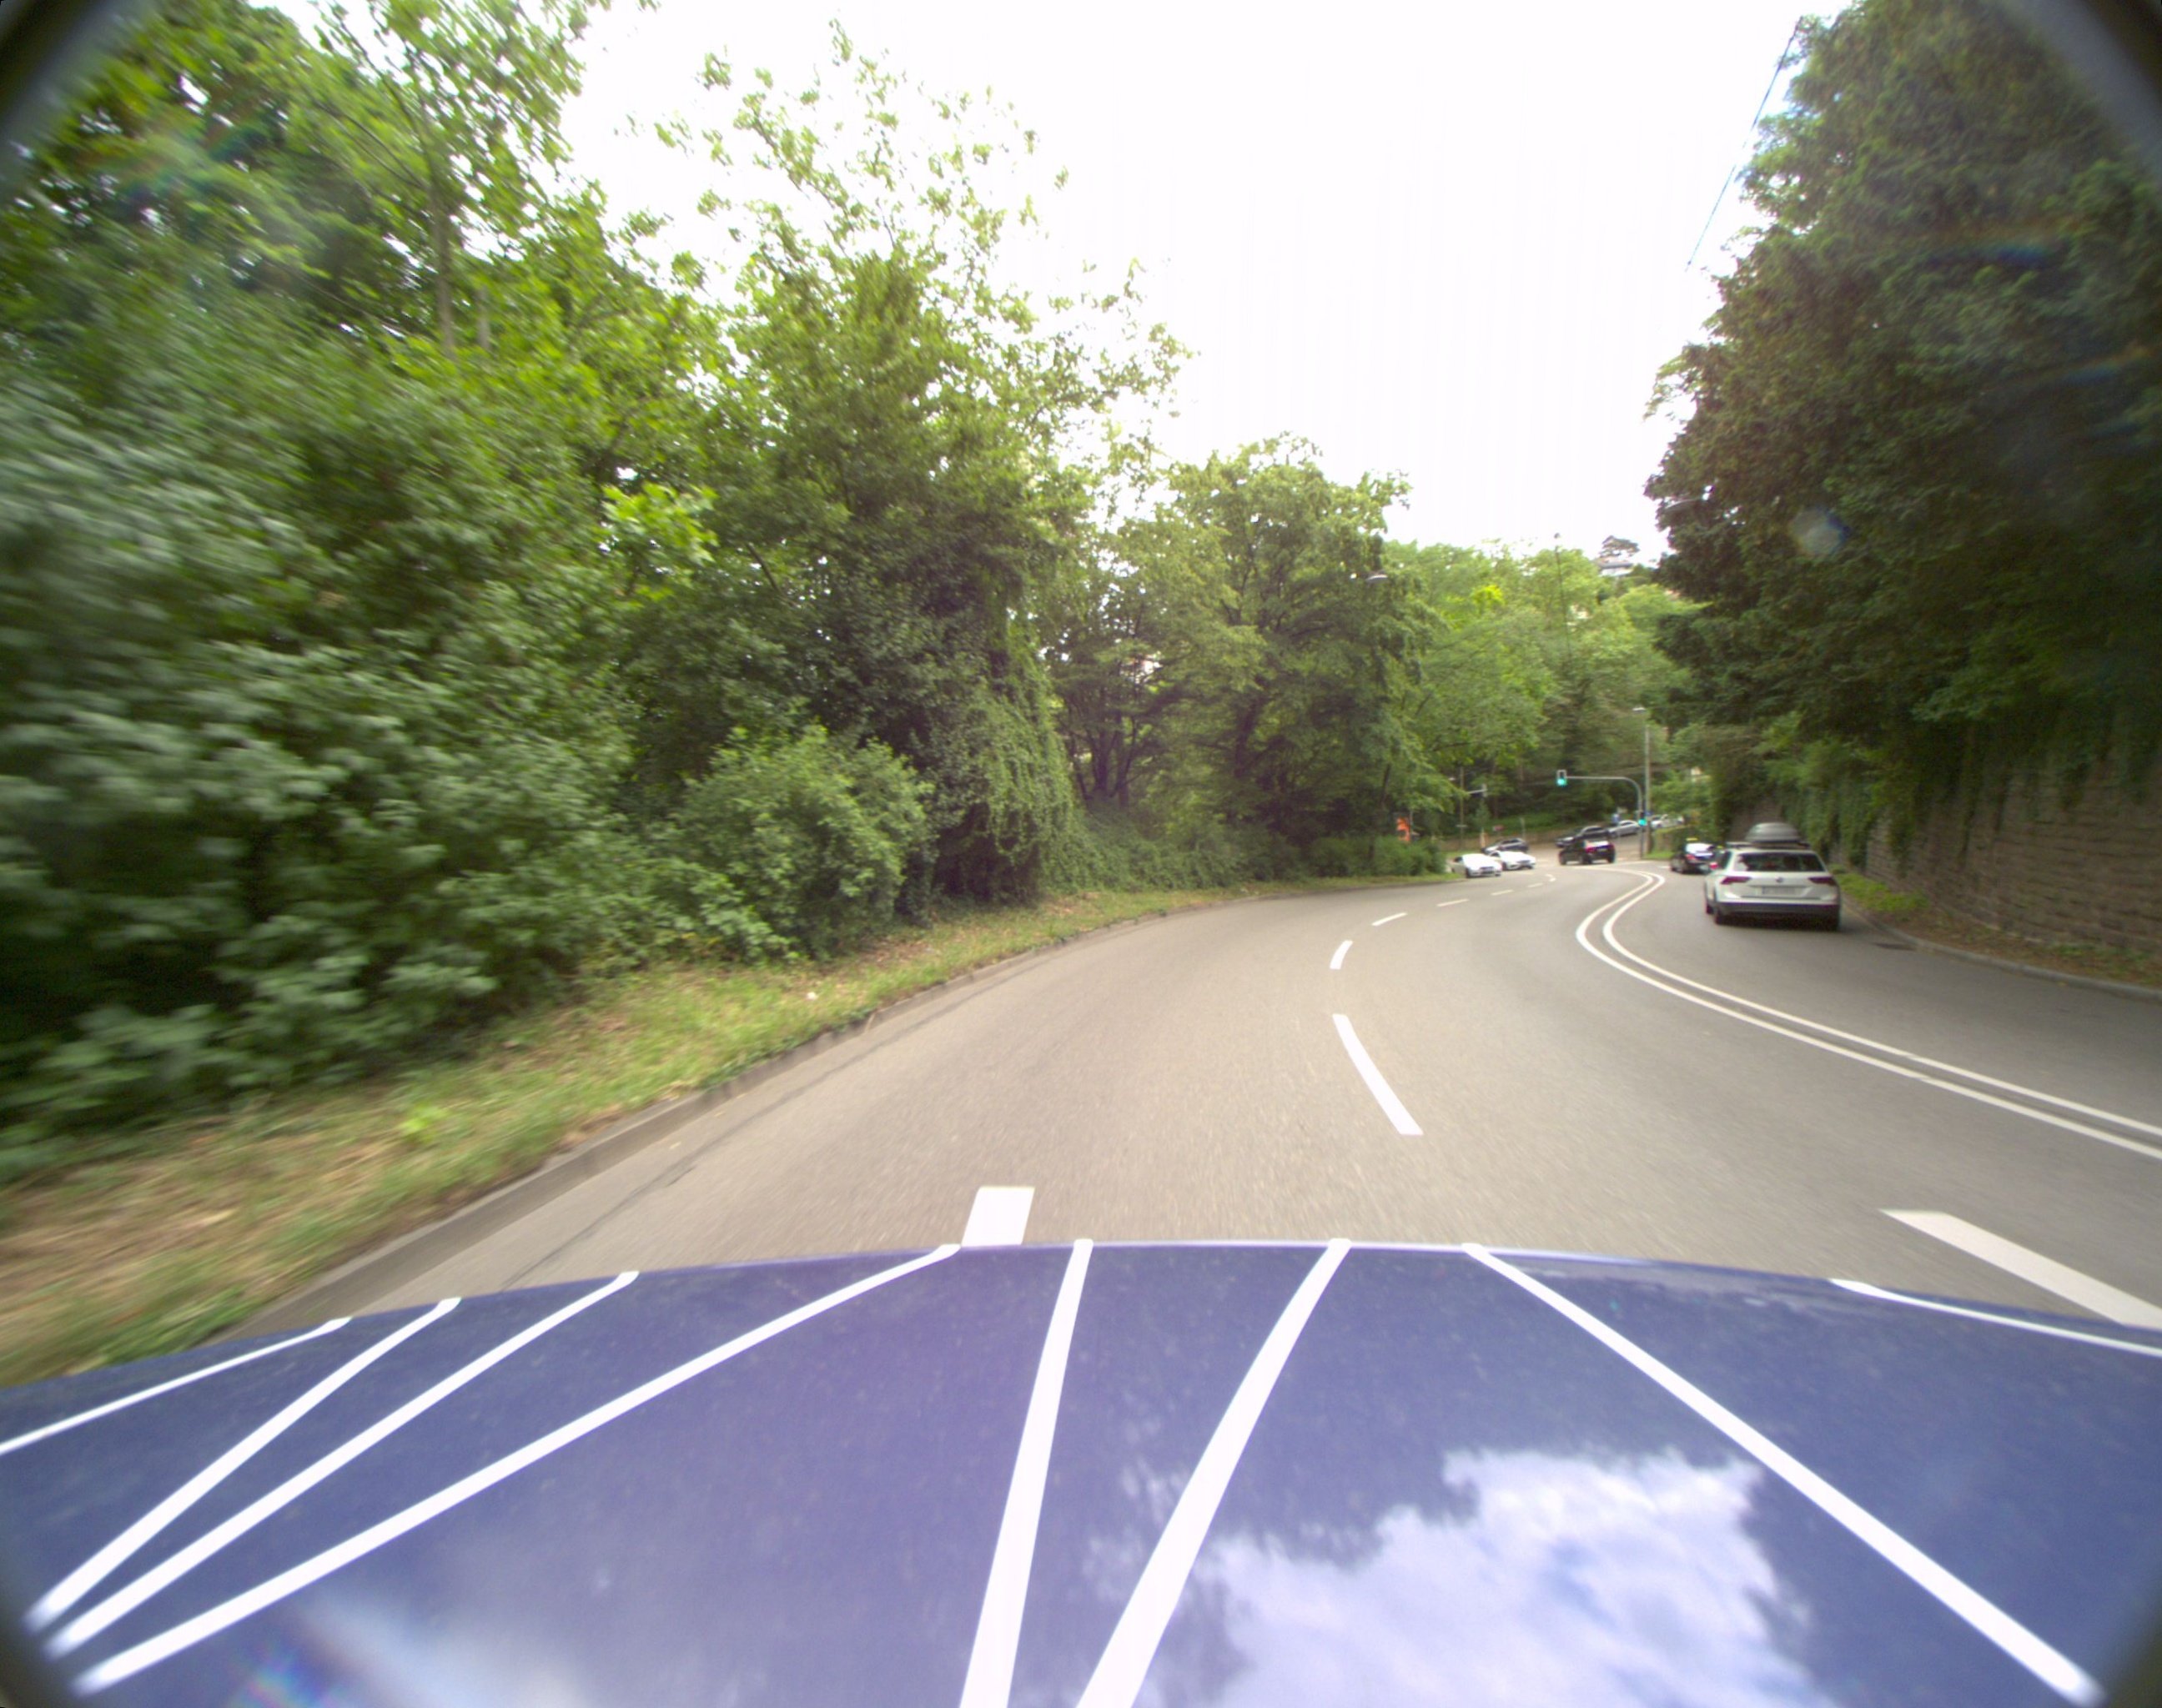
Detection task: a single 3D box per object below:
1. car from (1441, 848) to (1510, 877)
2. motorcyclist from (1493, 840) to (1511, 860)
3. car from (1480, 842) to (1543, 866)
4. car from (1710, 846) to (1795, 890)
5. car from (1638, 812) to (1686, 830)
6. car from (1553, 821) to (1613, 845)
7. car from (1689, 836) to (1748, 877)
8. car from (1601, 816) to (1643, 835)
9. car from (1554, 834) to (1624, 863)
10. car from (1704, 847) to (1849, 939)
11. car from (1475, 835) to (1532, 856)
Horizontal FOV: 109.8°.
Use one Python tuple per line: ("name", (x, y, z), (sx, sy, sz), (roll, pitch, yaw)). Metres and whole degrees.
("car", (24.436, 0.572, 47.257), (1.916, 1.542, 4.528), (-5, -2, 2))
("motorcyclist", (32.814, -0.307, 59.209), (0.748, 1.520, 1.095), (-1, 1, 1))
("car", (29.613, 0.013, 52.468), (1.916, 1.469, 4.527), (-4, 0, 3))
("car", (22.557, 0.400, 25.470), (3.968, 1.332, 1.771), (-1, 2, -43))
("car", (57.311, -3.284, 74.959), (4.024, 1.322, 1.626), (-8, 4, -14))
("car", (45.747, -1.895, 69.253), (4.543, 1.675, 1.806), (-7, 2, -11))
("car", (28.463, 0.093, 33.917), (1.863, 1.588, 4.639), (-3, 0, 40))
("car", (52.236, -2.731, 73.383), (3.266, 1.440, 1.503), (-9, 4, -16))
("car", (33.238, -0.368, 49.856), (1.853, 1.639, 4.513), (-4, 0, 7))
("car", (14.510, 0.693, 16.091), (1.770, 1.643, 4.396), (1, 1, 36))
("car", (38.223, -0.789, 68.807), (3.996, 1.350, 1.754), (-7, 1, 4))
